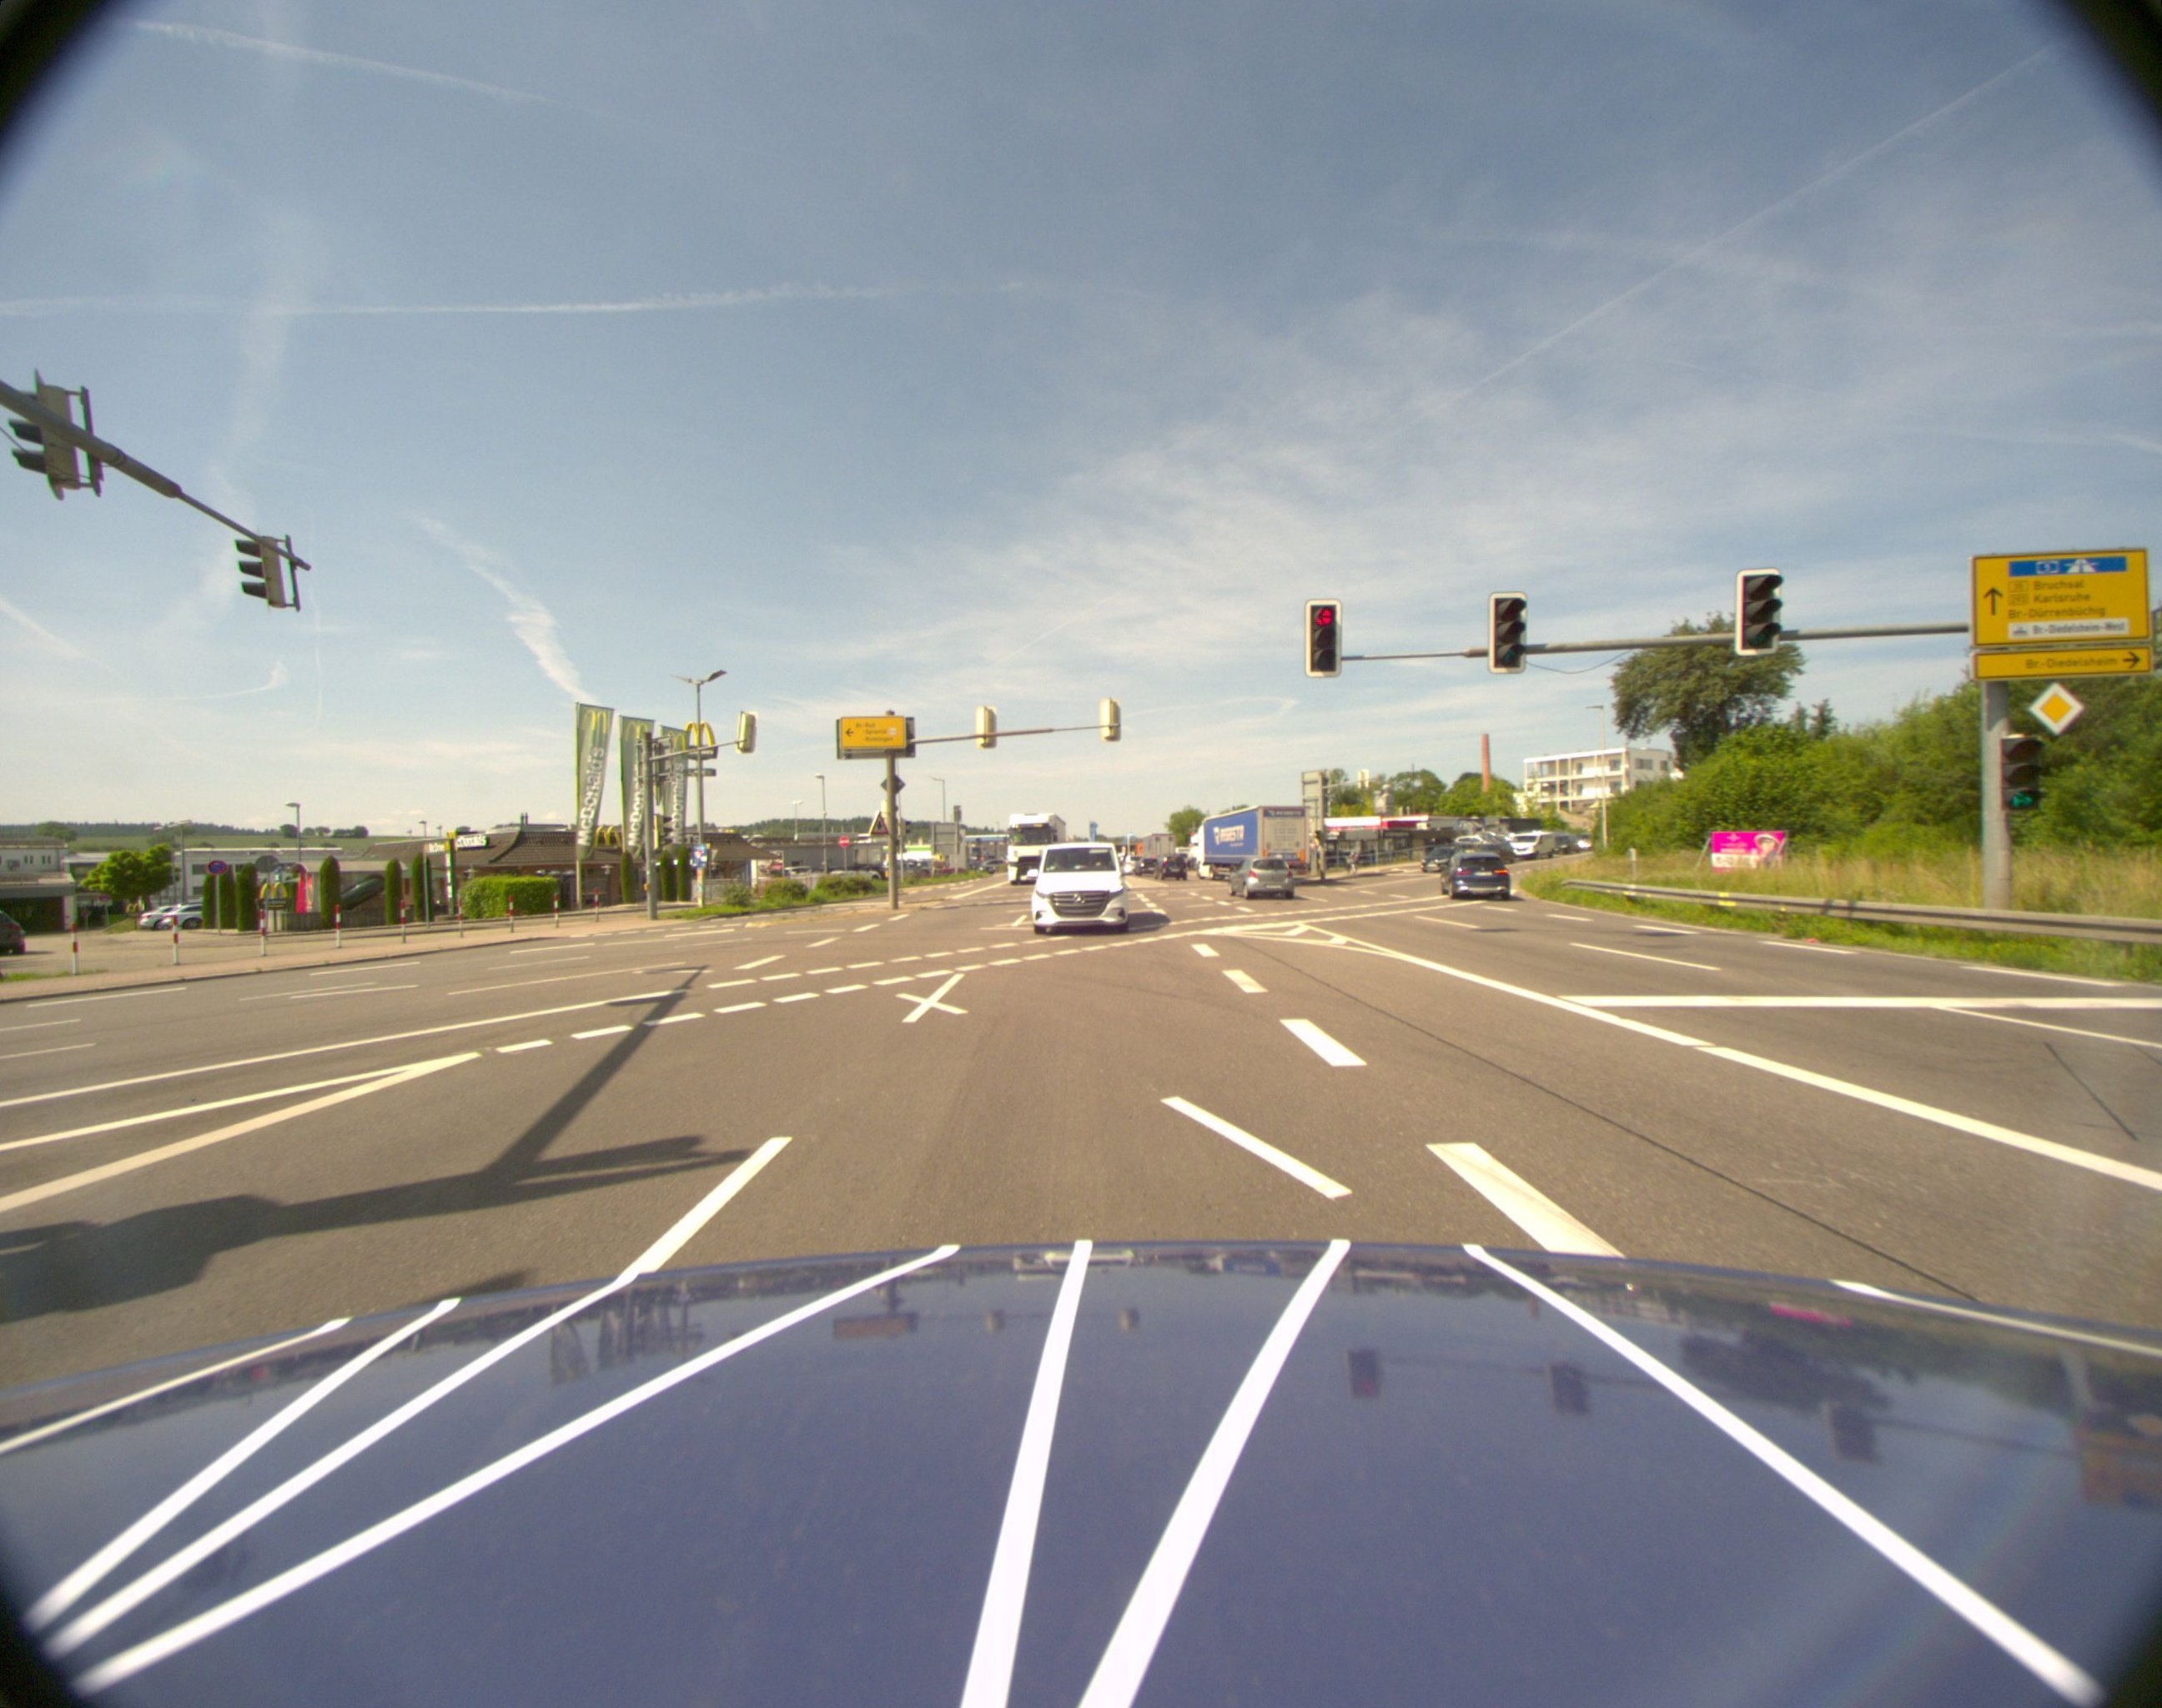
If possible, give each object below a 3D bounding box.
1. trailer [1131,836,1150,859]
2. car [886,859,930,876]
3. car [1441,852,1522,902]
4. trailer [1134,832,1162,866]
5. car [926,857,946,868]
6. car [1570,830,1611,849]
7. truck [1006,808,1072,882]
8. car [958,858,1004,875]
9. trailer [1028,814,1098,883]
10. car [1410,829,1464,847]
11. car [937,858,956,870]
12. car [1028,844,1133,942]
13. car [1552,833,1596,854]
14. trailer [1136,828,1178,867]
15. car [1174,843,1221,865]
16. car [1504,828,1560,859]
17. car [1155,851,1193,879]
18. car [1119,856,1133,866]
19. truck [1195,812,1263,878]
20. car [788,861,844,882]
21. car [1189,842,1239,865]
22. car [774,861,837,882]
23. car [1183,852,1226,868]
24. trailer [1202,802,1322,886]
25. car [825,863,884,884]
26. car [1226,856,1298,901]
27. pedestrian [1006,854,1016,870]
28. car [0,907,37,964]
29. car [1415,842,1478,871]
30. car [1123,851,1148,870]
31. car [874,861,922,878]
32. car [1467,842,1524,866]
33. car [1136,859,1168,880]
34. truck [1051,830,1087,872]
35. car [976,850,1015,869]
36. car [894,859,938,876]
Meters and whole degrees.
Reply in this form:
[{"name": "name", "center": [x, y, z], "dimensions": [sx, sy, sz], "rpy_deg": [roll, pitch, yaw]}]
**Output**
[{"name": "trailer", "center": [10.522, -1.153, 135.515], "dimensions": [2.727, 3.975, 12.234], "rpy_deg": [0, 0, 1]}, {"name": "car", "center": [-17.988, 1.426, 79.124], "dimensions": [4.007, 1.661, 1.916], "rpy_deg": [0, 1, -35]}, {"name": "car", "center": [14.364, 0.757, 27.509], "dimensions": [1.995, 1.667, 4.313], "rpy_deg": [0, 0, 19]}, {"name": "trailer", "center": [8.273, -0.622, 94.664], "dimensions": [2.653, 4.081, 6.178], "rpy_deg": [0, 0, -3]}, {"name": "car", "center": [-21.494, 1.222, 112.715], "dimensions": [1.774, 1.645, 4.435], "rpy_deg": [0, 0, 5]}, {"name": "car", "center": [45.911, -1.329, 68.441], "dimensions": [4.517, 1.554, 1.994], "rpy_deg": [-3, 2, -41]}, {"name": "truck", "center": [-2.321, -0.499, 44.103], "dimensions": [2.645, 3.963, 6.045], "rpy_deg": [0, 0, 8]}, {"name": "car", "center": [-9.855, 1.214, 74.635], "dimensions": [1.969, 1.325, 4.804], "rpy_deg": [-7, 2, -43]}, {"name": "trailer", "center": [-0.974, -0.383, 52.051], "dimensions": [2.611, 4.203, 11.300], "rpy_deg": [0, 0, 10]}, {"name": "car", "center": [32.678, -1.467, 69.818], "dimensions": [2.003, 1.554, 4.059], "rpy_deg": [-4, 2, -41]}, {"name": "car", "center": [-18.896, 1.348, 106.712], "dimensions": [1.908, 1.645, 4.709], "rpy_deg": [0, 0, -2]}, {"name": "car", "center": [0.070, 0.732, 17.388], "dimensions": [1.993, 1.858, 5.803], "rpy_deg": [0, 0, 2]}, {"name": "car", "center": [40.672, -0.912, 62.644], "dimensions": [4.518, 1.554, 1.994], "rpy_deg": [-4, 3, -43]}, {"name": "trailer", "center": [8.602, -0.710, 87.562], "dimensions": [2.699, 4.123, 13.874], "rpy_deg": [0, 0, -3]}, {"name": "car", "center": [14.513, 0.004, 94.740], "dimensions": [5.579, 2.756, 2.177], "rpy_deg": [0, 1, 3]}, {"name": "car", "center": [34.001, -0.810, 57.234], "dimensions": [5.524, 2.030, 2.062], "rpy_deg": [-4, 2, -43]}, {"name": "car", "center": [6.050, 0.690, 49.766], "dimensions": [1.998, 1.716, 4.000], "rpy_deg": [0, 0, 0]}, {"name": "car", "center": [7.249, 1.116, 122.694], "dimensions": [1.913, 1.593, 4.588], "rpy_deg": [1, 0, -1]}, {"name": "truck", "center": [9.689, -0.579, 50.567], "dimensions": [3.196, 4.056, 6.345], "rpy_deg": [0, 0, -1]}, {"name": "car", "center": [-22.130, 1.441, 63.545], "dimensions": [1.771, 1.661, 4.179], "rpy_deg": [0, 0, 37]}, {"name": "car", "center": [16.119, -0.039, 92.291], "dimensions": [5.721, 2.821, 2.117], "rpy_deg": [0, 0, 3]}, {"name": "car", "center": [-23.658, 1.441, 65.428], "dimensions": [1.907, 1.661, 4.828], "rpy_deg": [0, 0, 37]}, {"name": "car", "center": [13.261, 0.653, 81.635], "dimensions": [4.189, 1.613, 2.026], "rpy_deg": [0, 0, -26]}, {"name": "trailer", "center": [9.913, -0.518, 43.869], "dimensions": [3.101, 4.056, 14.123], "rpy_deg": [0, 0, -2]}, {"name": "car", "center": [-18.187, 1.550, 61.150], "dimensions": [1.855, 1.567, 4.242], "rpy_deg": [0, 0, 37]}, {"name": "car", "center": [6.520, 0.844, 27.776], "dimensions": [1.729, 1.493, 4.000], "rpy_deg": [0, 0, 1]}, {"name": "pedestrian", "center": [-8.635, 1.007, 93.599], "dimensions": [0.990, 1.900, 0.742], "rpy_deg": [-1, 1, -33]}, {"name": "car", "center": [-35.094, 2.610, 24.222], "dimensions": [4.436, 1.511, 2.004], "rpy_deg": [0, 0, 37]}, {"name": "car", "center": [22.807, 0.146, 47.336], "dimensions": [4.644, 1.518, 1.910], "rpy_deg": [-4, 2, -43]}, {"name": "car", "center": [5.117, 0.626, 71.829], "dimensions": [1.848, 1.722, 4.588], "rpy_deg": [-2, 0, -1]}, {"name": "car", "center": [-17.129, 1.388, 71.320], "dimensions": [1.744, 1.483, 4.273], "rpy_deg": [0, 0, 37]}, {"name": "car", "center": [28.776, -0.037, 52.702], "dimensions": [4.983, 1.411, 1.944], "rpy_deg": [-4, 3, -43]}, {"name": "car", "center": [5.509, 1.194, 59.501], "dimensions": [1.999, 1.476, 4.453], "rpy_deg": [0, 0, -1]}, {"name": "truck", "center": [-1.114, -0.283, 76.794], "dimensions": [2.646, 3.963, 9.242], "rpy_deg": [0, 0, 5]}, {"name": "car", "center": [-10.232, 0.632, 91.020], "dimensions": [4.355, 2.200, 1.759], "rpy_deg": [0, 1, -28]}, {"name": "car", "center": [-16.733, 1.350, 77.041], "dimensions": [4.031, 1.661, 1.772], "rpy_deg": [0, 1, -29]}]
